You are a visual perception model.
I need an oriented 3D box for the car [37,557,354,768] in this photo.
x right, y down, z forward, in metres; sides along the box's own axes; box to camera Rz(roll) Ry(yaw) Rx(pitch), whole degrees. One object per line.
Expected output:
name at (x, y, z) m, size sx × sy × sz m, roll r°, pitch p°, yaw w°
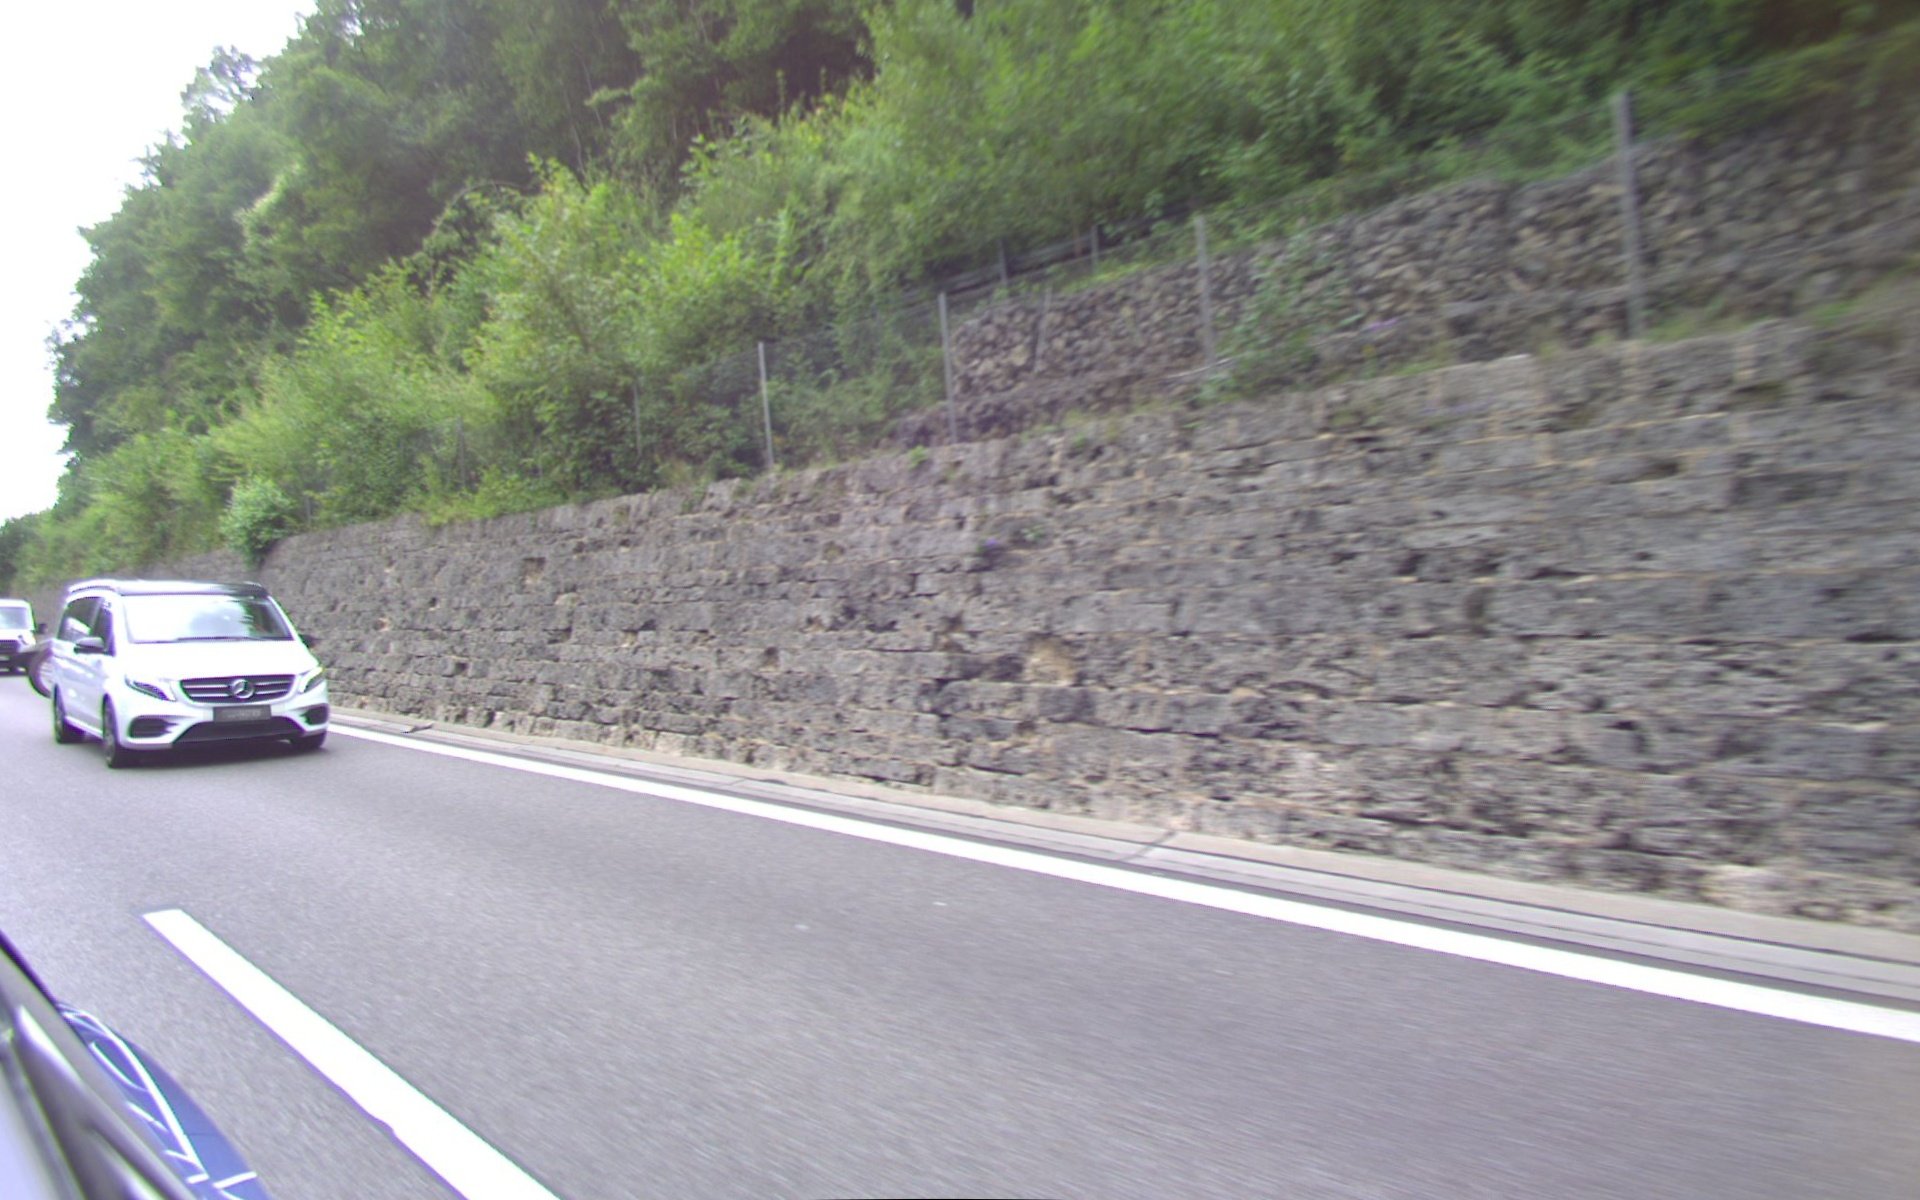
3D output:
car at (-9.468, 0.626, 12.254) m, size 6.147 × 1.967 × 1.972 m, roll -2°, pitch 0°, yaw 43°

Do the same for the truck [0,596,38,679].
truck at (-29.326, 1.131, 30.155) m, size 6.582 × 2.297 × 1.973 m, roll -2°, pitch 0°, yaw 41°
